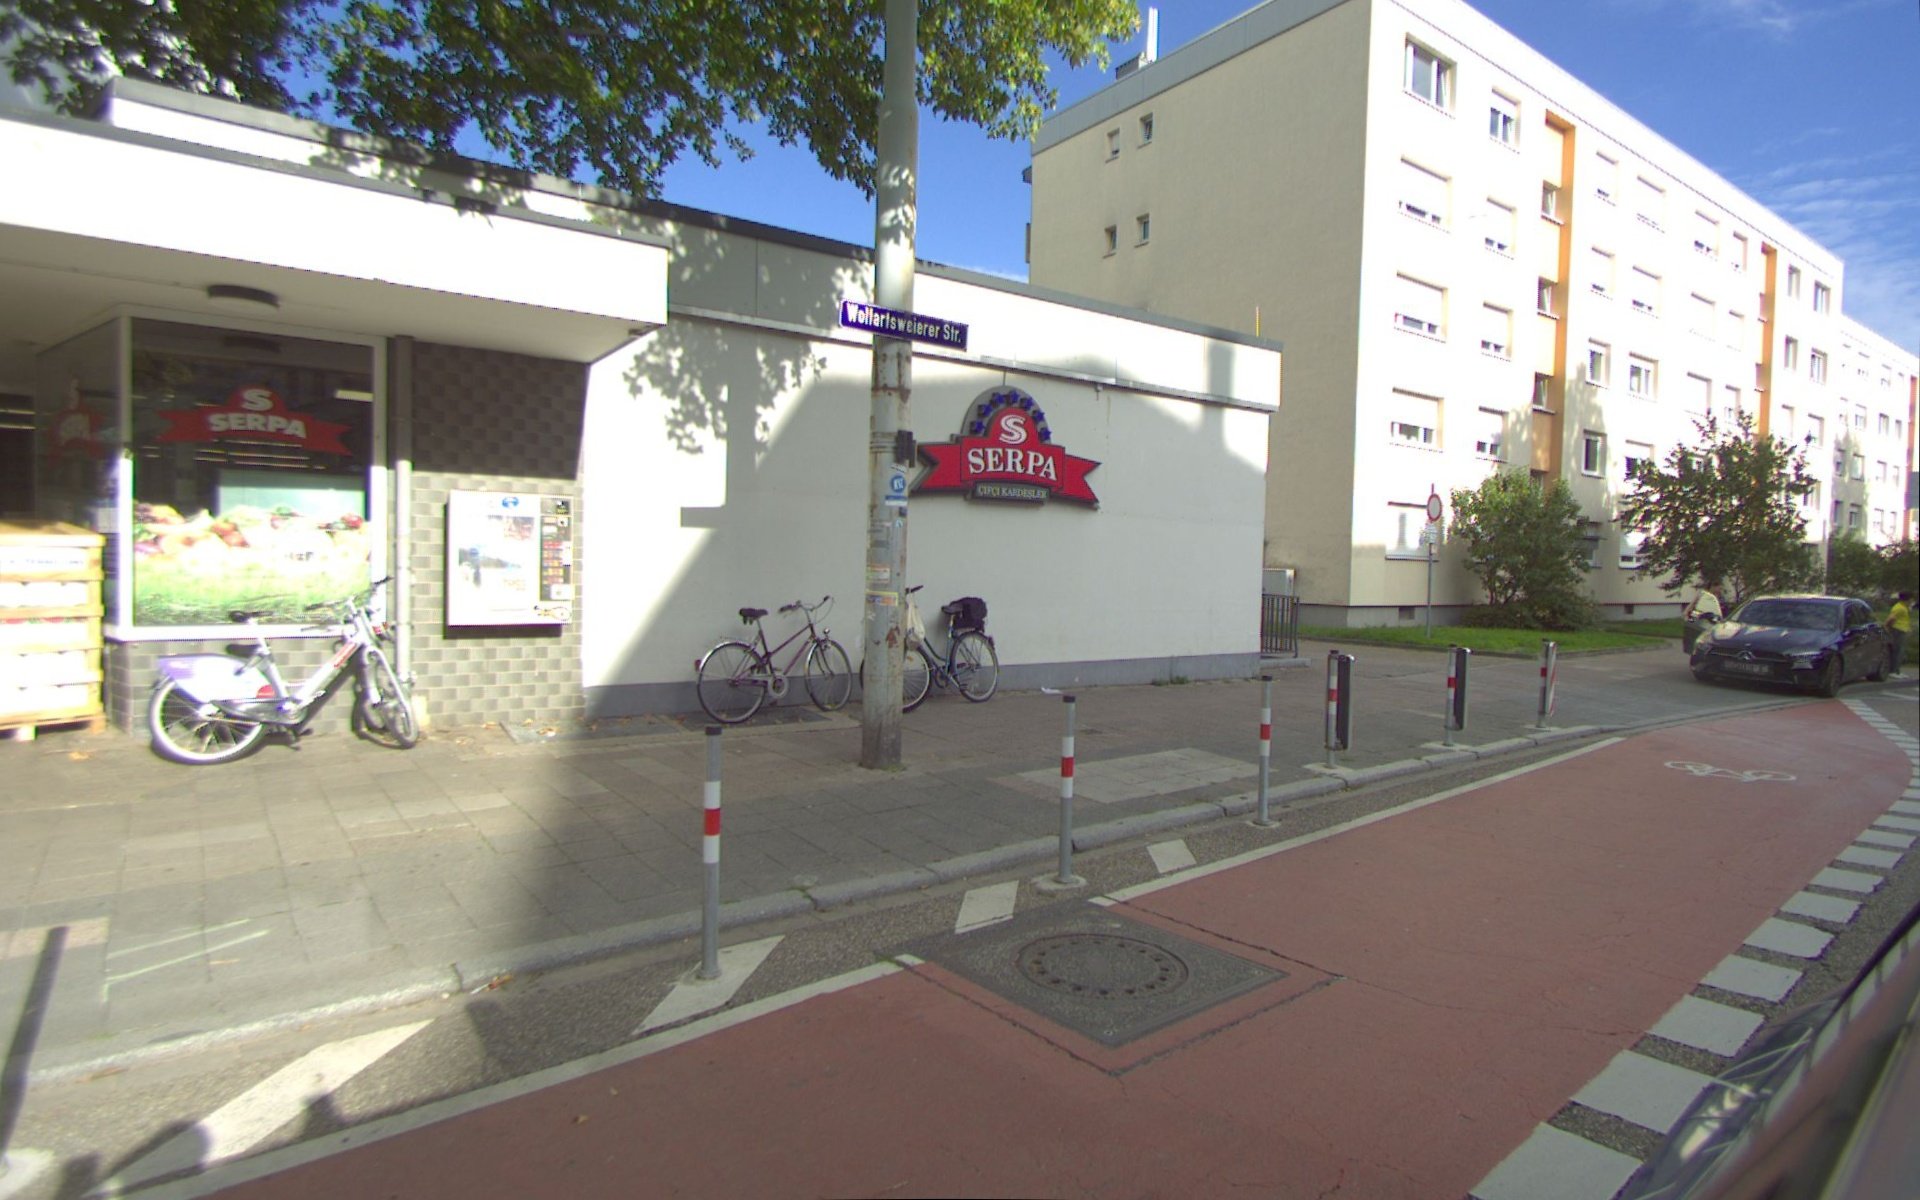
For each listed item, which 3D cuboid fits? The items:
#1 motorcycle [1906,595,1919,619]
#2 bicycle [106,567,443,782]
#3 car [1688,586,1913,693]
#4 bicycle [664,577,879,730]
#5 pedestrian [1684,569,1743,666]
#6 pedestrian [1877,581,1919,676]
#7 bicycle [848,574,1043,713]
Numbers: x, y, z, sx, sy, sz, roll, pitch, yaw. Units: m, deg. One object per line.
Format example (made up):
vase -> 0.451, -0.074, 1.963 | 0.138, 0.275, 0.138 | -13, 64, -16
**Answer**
motorcycle -> 45.498, 0.332, 47.960 | 2.351, 1.057, 0.632 | 0, 3, -40
bicycle -> -4.523, 0.418, 6.776 | 1.782, 1.220, 0.714 | -1, 6, -38
car -> 13.627, 0.555, 16.345 | 4.153, 1.429, 1.767 | 0, 3, -36
bicycle -> -1.657, 0.427, 9.021 | 1.738, 1.221, 0.713 | 0, 2, -37
pedestrian -> 13.344, 0.288, 17.915 | 0.730, 1.666, 0.654 | 0, 1, -39
pedestrian -> 16.260, 0.476, 17.334 | 0.730, 1.557, 0.654 | 0, 3, -39
bicycle -> -0.128, 0.384, 10.093 | 1.782, 1.220, 0.772 | -1, 6, -37
